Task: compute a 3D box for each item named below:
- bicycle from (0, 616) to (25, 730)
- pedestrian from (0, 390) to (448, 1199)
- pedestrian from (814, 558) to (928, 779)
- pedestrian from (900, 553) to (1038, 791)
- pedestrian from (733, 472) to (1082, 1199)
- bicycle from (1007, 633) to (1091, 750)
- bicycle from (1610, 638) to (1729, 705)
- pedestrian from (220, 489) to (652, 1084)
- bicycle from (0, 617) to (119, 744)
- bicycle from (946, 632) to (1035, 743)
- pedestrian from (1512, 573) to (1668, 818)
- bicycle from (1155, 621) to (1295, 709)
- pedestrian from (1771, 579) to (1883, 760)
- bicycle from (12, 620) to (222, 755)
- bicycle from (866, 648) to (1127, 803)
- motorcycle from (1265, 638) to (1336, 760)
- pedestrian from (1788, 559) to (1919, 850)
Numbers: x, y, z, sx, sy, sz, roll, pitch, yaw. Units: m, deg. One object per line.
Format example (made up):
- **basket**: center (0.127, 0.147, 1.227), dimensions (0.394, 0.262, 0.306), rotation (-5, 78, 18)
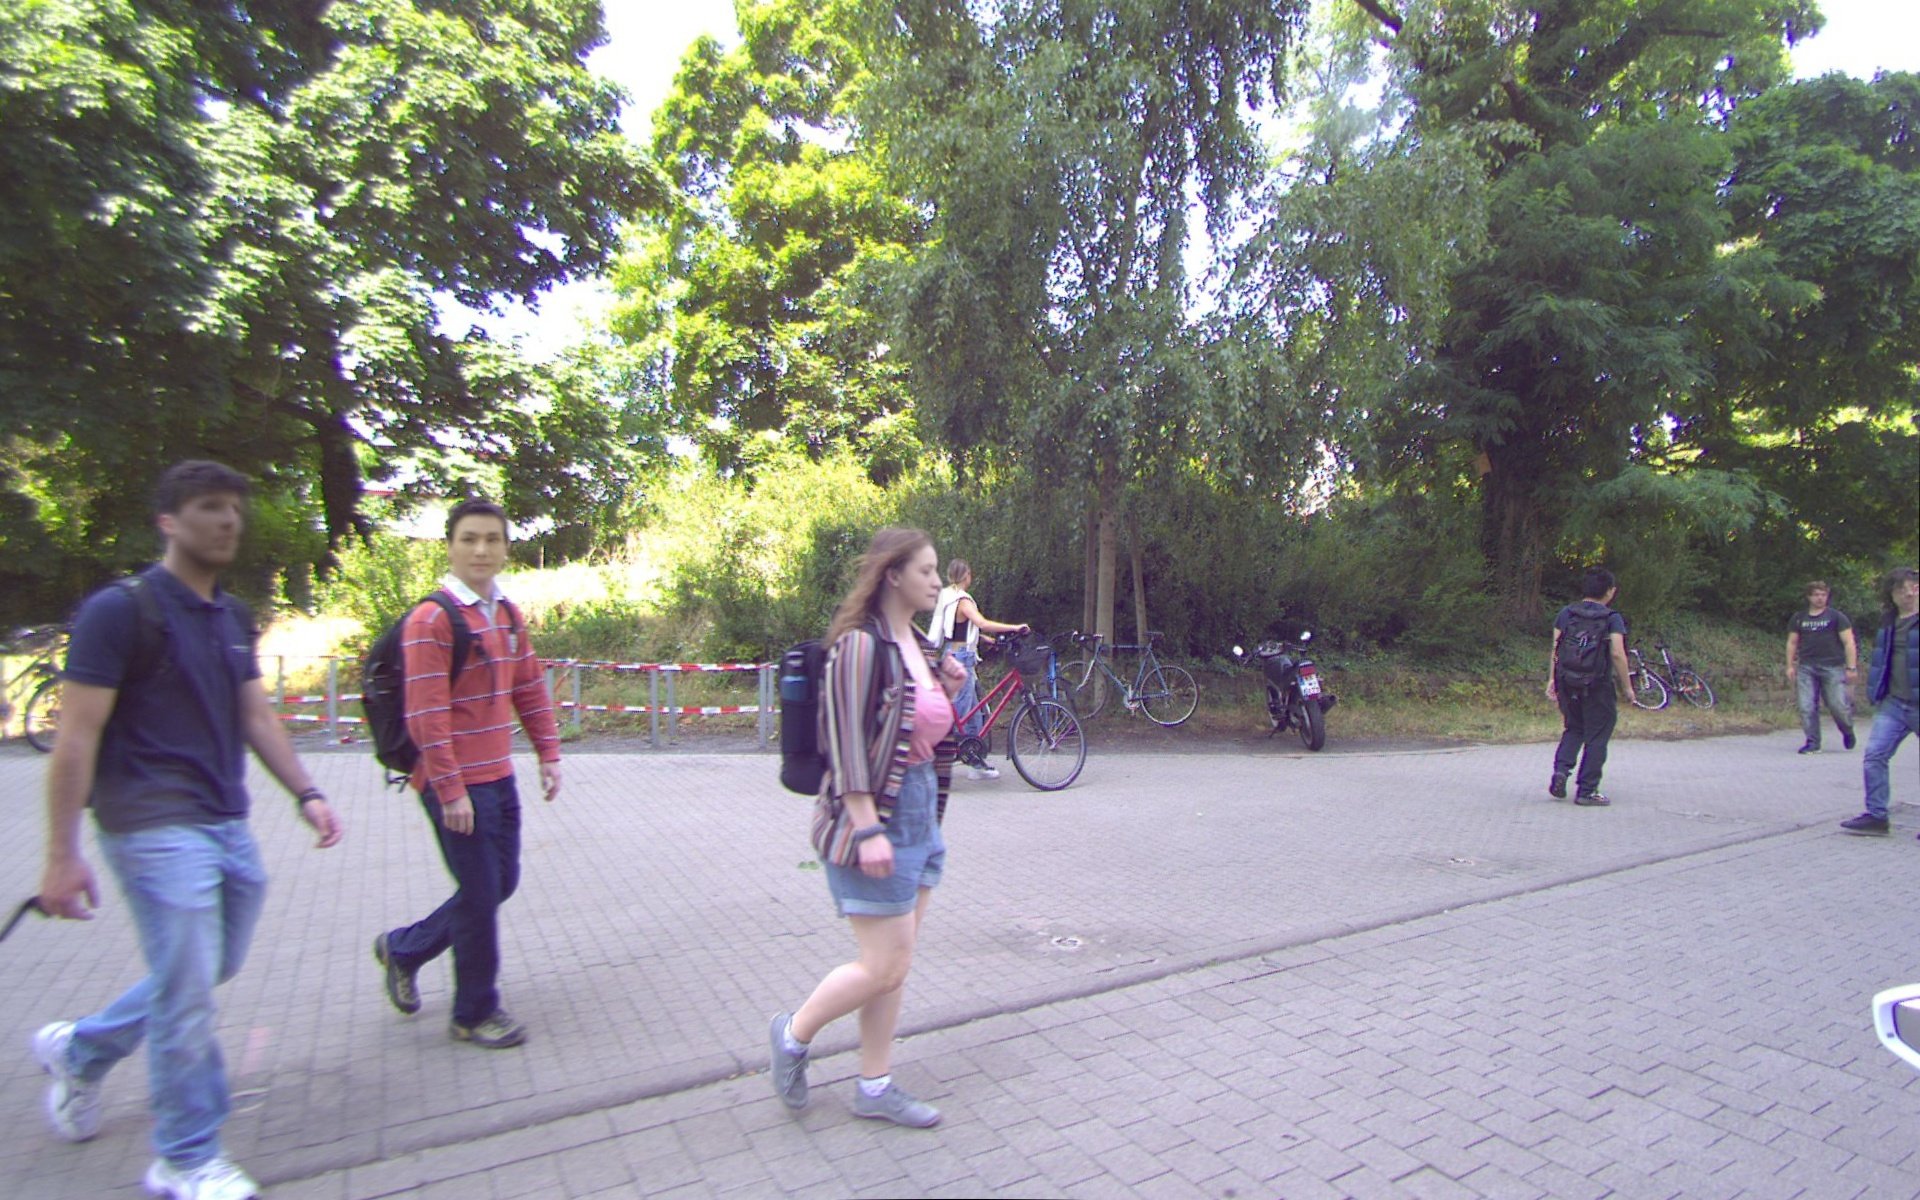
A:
- **bicycle**: center (-9.678, 0.708, 9.258), dimensions (0.465, 1.125, 1.778), rotation (1, -1, -1)
- **pedestrian**: center (-1.939, 0.486, 2.541), dimensions (0.922, 1.859, 0.686), rotation (-1, -1, 4)
- **pedestrian**: center (-0.737, 0.553, 8.411), dimensions (0.673, 1.747, 0.731), rotation (-1, -1, 23)
- **pedestrian**: center (0.051, 0.531, 7.804), dimensions (0.921, 1.747, 0.675), rotation (0, -1, -14)
- **pedestrian**: center (-0.157, 0.573, 2.882), dimensions (0.725, 1.747, 0.678), rotation (1, 0, -39)
- **bicycle**: center (0.967, 0.917, 10.619), dimensions (0.465, 1.061, 1.700), rotation (2, 1, 19)
- **bicycle**: center (10.405, 1.044, 14.726), dimensions (1.711, 0.922, 0.421), rotation (2, -1, -16)
- **pedestrian**: center (-1.668, 0.557, 3.333), dimensions (1.043, 1.747, 0.719), rotation (-1, -1, 2)
- **bicycle**: center (-8.818, 0.728, 9.373), dimensions (0.465, 1.125, 1.778), rotation (1, -1, -1)
- **bicycle**: center (0.357, 0.888, 10.724), dimensions (0.465, 1.061, 1.700), rotation (1, -1, 19)
- **pedestrian**: center (4.819, 0.686, 7.687), dimensions (0.894, 1.747, 0.680), rotation (1, 0, -32)
- **bicycle**: center (3.404, 0.833, 12.938), dimensions (1.669, 1.061, 0.473), rotation (2, 1, -9)
- **pedestrian**: center (9.585, 0.740, 11.105), dimensions (1.110, 1.897, 0.678), rotation (2, -1, -35)
- **bicycle**: center (-7.764, 0.754, 9.361), dimensions (0.465, 1.125, 1.778), rotation (1, -1, -1)
- **bicycle**: center (0.268, 0.916, 7.565), dimensions (1.875, 1.061, 0.540), rotation (1, 1, -13)
- **motorcycle**: center (3.545, 0.978, 10.556), dimensions (0.464, 1.061, 2.027), rotation (1, 1, 12)
- **pedestrian**: center (6.588, 0.683, 6.919), dimensions (1.011, 1.882, 0.889), rotation (1, 0, 4)
